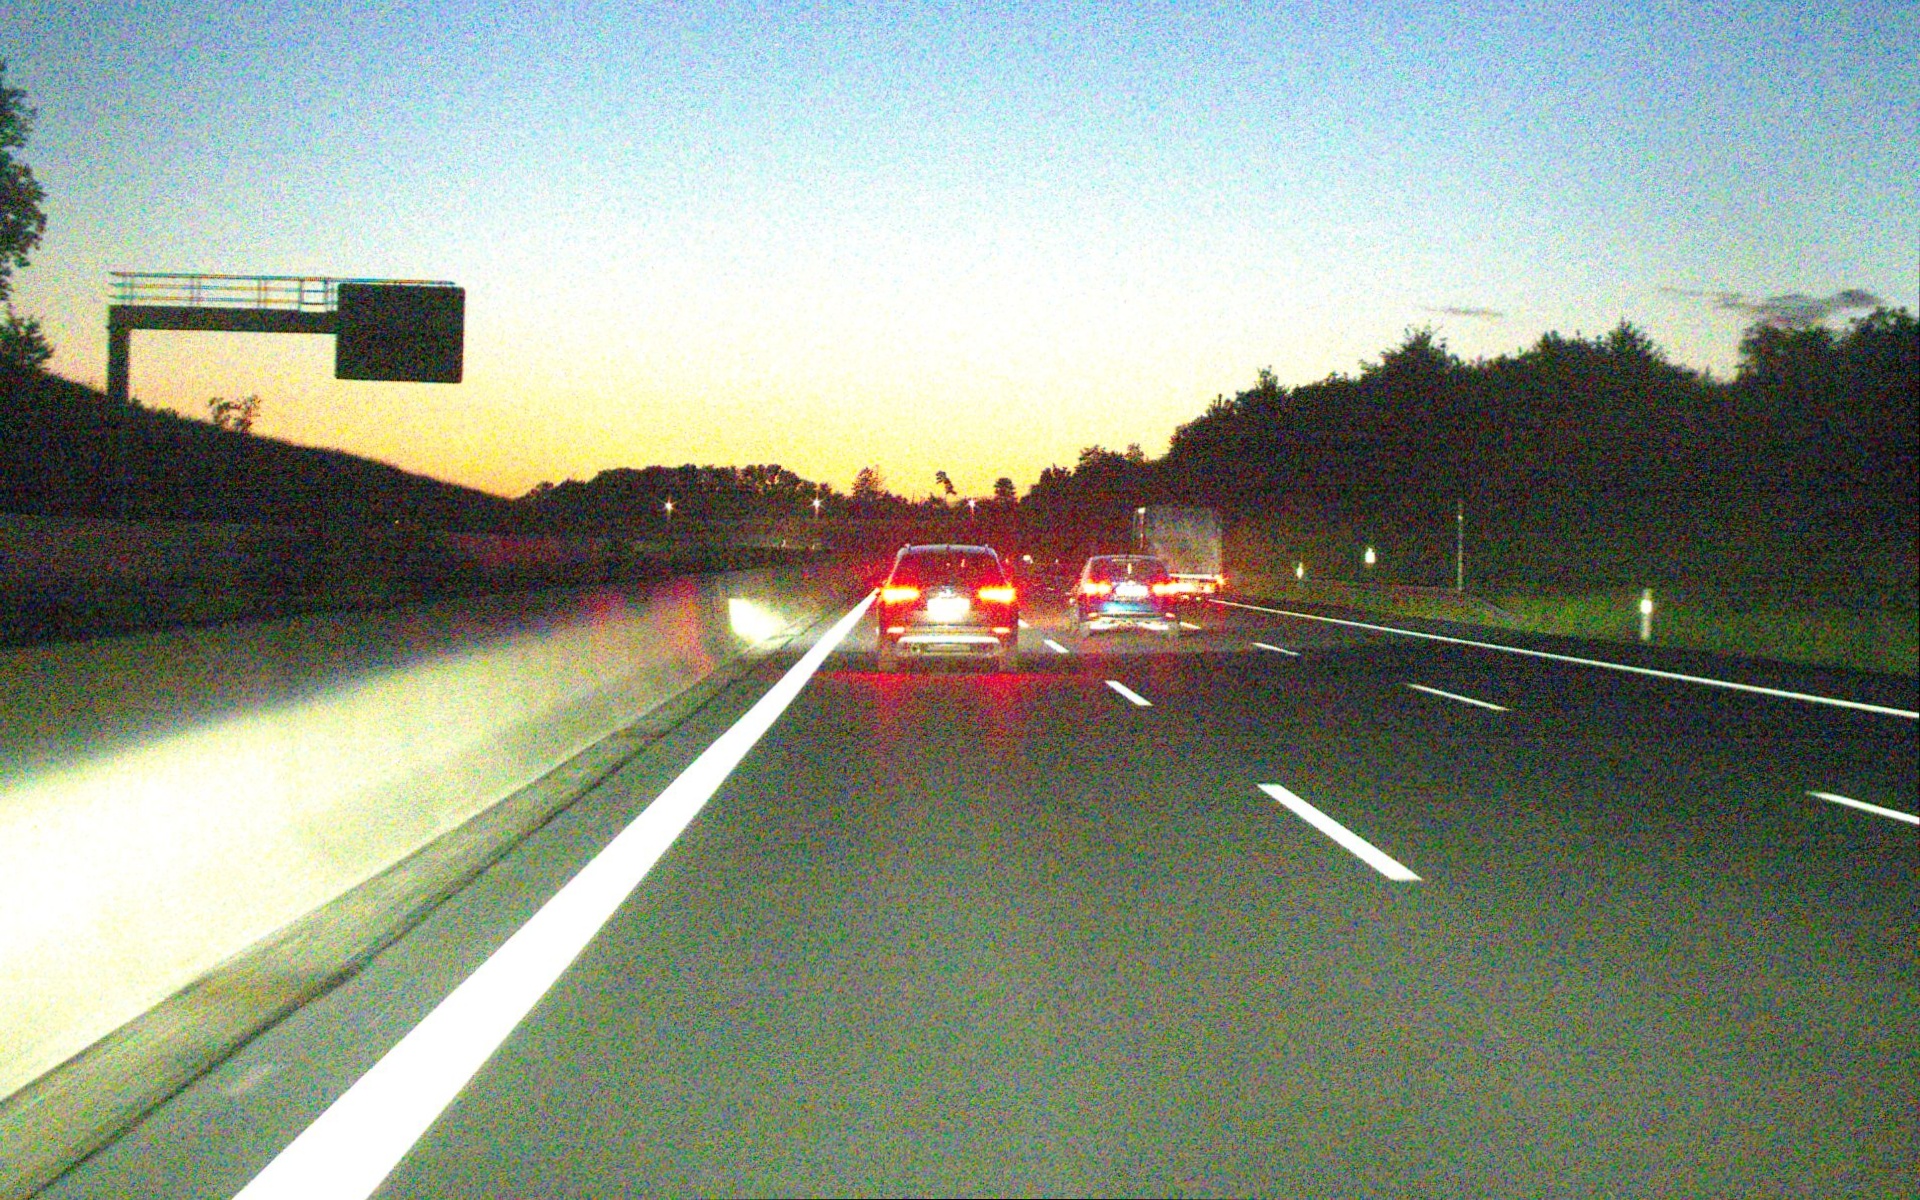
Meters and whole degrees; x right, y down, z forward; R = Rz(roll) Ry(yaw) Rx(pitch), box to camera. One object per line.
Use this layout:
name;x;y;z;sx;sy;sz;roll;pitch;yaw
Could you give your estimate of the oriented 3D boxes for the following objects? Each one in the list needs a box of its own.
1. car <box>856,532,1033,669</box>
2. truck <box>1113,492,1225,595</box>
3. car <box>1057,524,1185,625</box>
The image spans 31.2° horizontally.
car;-0.252;-0.015;44.240;2.105;1.612;4.205;2;1;-2
truck;6.477;-1.766;107.527;2.603;2.865;7.486;5;1;-2
car;2.848;-0.462;61.585;1.911;1.724;4.000;1;0;-2
